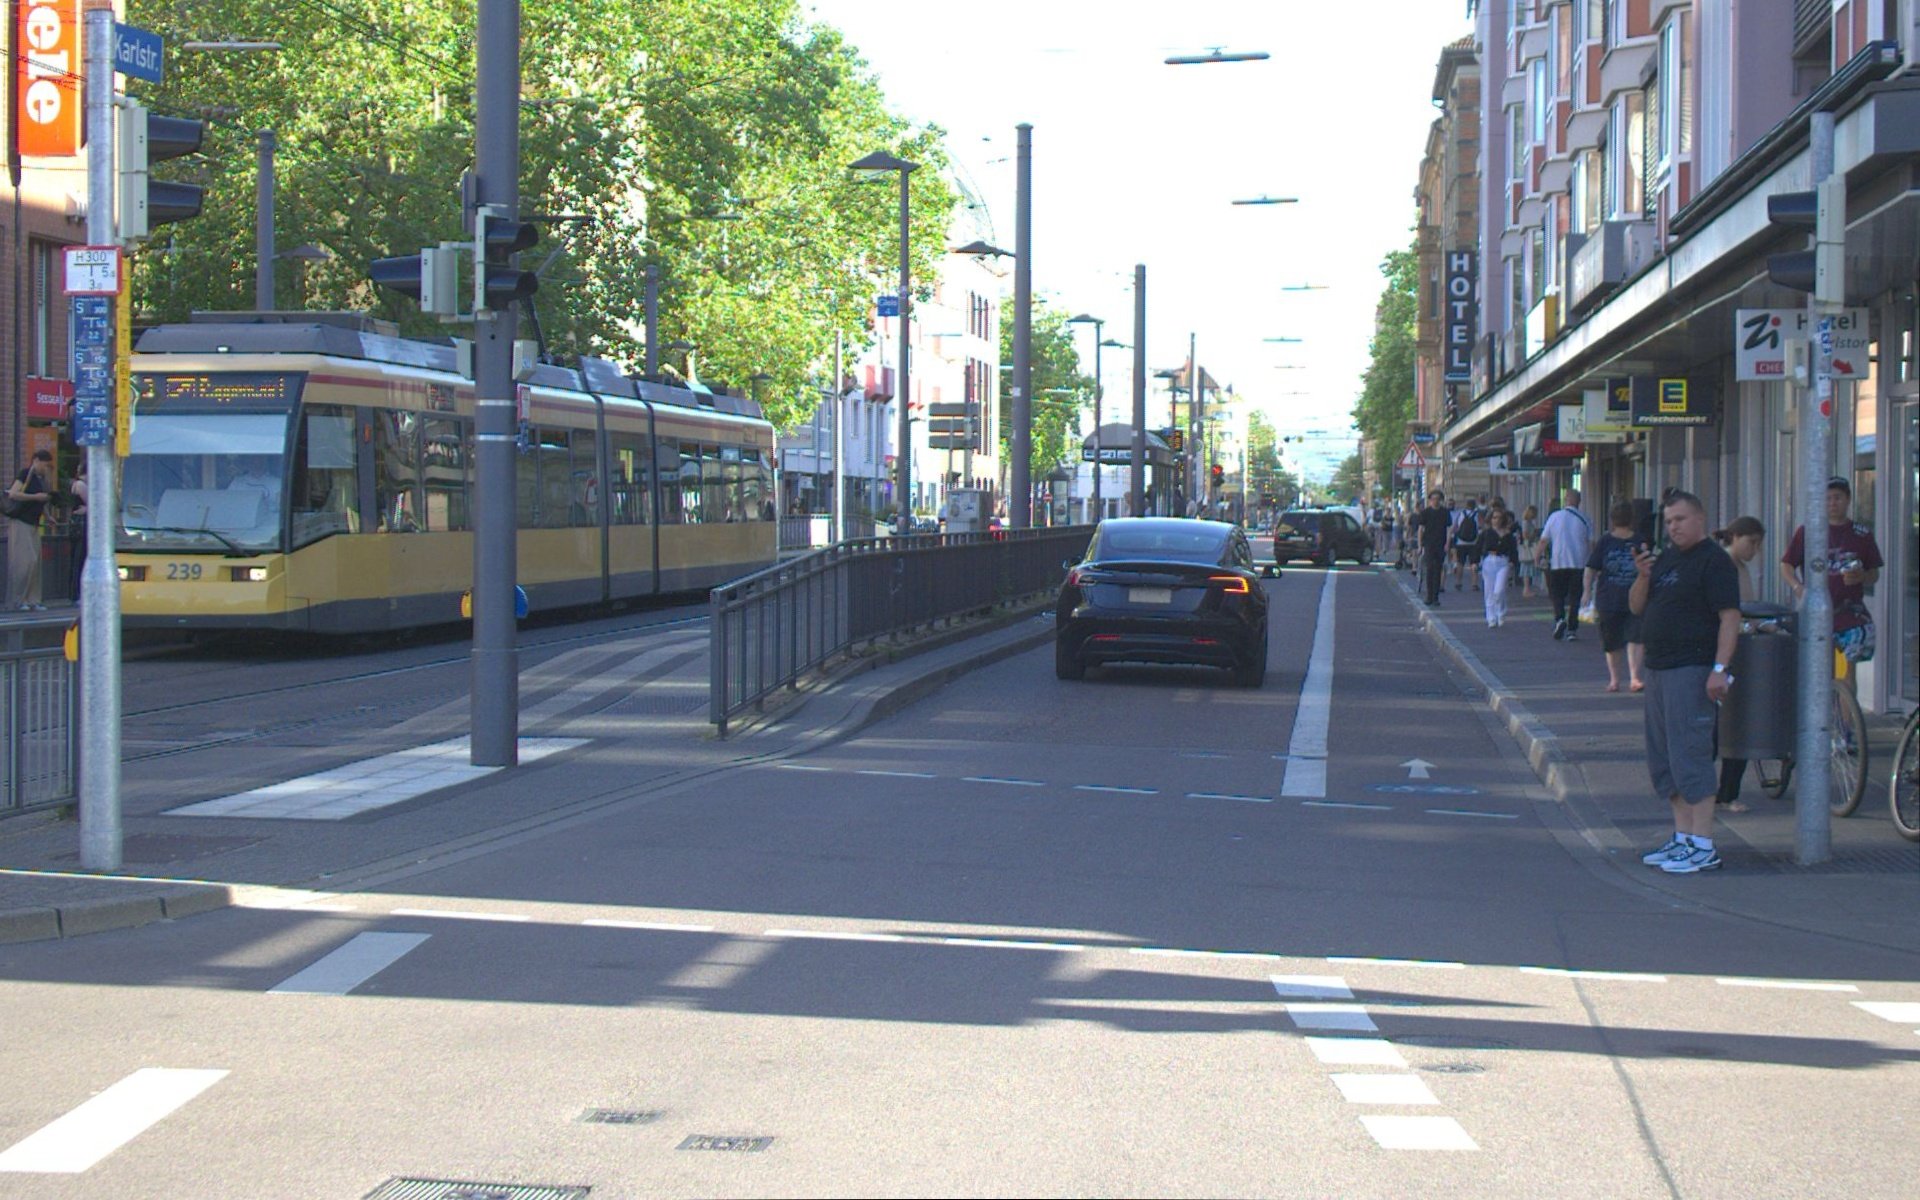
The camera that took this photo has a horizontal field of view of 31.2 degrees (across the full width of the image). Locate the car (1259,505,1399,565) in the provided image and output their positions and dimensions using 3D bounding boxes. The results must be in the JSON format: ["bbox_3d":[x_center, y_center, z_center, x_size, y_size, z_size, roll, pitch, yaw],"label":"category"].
[{"bbox_3d":[10.775,-1.908,100.535,3.696,1.659,1.743,1,1,-8],"label":"car"}]

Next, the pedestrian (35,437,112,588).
[{"bbox_3d":[-10.241,-1.014,39.733,0.636,1.715,0.585,2,1,15],"label":"pedestrian"}]

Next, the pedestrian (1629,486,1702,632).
[{"bbox_3d":[8.255,-0.486,40.259,0.747,1.672,0.699,1,1,7],"label":"pedestrian"}]

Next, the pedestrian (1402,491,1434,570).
[{"bbox_3d":[10.996,-1.670,82.542,0.697,1.890,0.749,1,1,7],"label":"pedestrian"}]

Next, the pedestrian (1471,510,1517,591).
[{"bbox_3d":[10.651,-0.989,68.625,0.842,1.601,0.787,1,1,7],"label":"pedestrian"}]

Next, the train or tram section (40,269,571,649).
[{"bbox_3d":[-6.753,-1.462,37.410,2.730,3.530,10.084,1,2,7],"label":"train or tram section"}]

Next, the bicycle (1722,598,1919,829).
[{"bbox_3d":[4.750,0.576,18.424,0.488,1.098,2.125,1,2,-10],"label":"bicycle"}]

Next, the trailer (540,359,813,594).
[{"bbox_3d":[-4.535,-2.005,57.130,2.714,3.534,9.357,1,2,6],"label":"trailer"}]

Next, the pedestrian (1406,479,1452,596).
[{"bbox_3d":[7.718,-1.031,56.571,0.697,1.890,0.749,1,1,7],"label":"pedestrian"}]

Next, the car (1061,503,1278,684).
[{"bbox_3d":[1.898,-0.110,31.265,1.790,1.445,3.940,2,2,3],"label":"car"}]

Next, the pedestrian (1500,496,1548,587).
[{"bbox_3d":[11.025,-1.147,67.200,0.842,1.750,0.787,1,1,7],"label":"pedestrian"}]

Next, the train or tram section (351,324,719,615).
[{"bbox_3d":[-5.610,-1.740,47.447,2.714,3.534,10.167,1,2,6],"label":"train or tram section"}]

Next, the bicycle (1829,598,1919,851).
[{"bbox_3d":[4.770,0.605,16.198,0.488,1.157,1.974,1,2,-11],"label":"bicycle"}]

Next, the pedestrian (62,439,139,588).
[{"bbox_3d":[-10.083,-1.018,40.336,0.636,1.715,0.608,2,1,15],"label":"pedestrian"}]

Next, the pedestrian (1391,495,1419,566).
[{"bbox_3d":[12.061,-1.887,93.136,0.697,1.890,0.749,1,1,7],"label":"pedestrian"}]

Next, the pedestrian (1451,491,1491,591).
[{"bbox_3d":[9.811,-1.134,66.034,0.697,1.890,0.749,1,1,7],"label":"pedestrian"}]

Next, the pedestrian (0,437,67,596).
[{"bbox_3d":[-10.165,-0.912,37.523,0.635,1.715,0.585,1,1,5],"label":"pedestrian"}]

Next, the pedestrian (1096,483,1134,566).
[{"bbox_3d":[3.369,-1.642,74.678,0.757,1.763,0.699,1,1,5],"label":"pedestrian"}]

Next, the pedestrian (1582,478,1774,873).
[{"bbox_3d":[3.328,0.329,15.994,0.626,1.776,0.918,1,1,-2],"label":"pedestrian"}]

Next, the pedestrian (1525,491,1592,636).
[{"bbox_3d":[7.047,-0.434,40.497,0.697,1.672,0.749,1,1,7],"label":"pedestrian"}]

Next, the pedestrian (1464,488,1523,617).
[{"bbox_3d":[7.037,-0.627,45.369,0.697,1.672,0.749,1,1,7],"label":"pedestrian"}]

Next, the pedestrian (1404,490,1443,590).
[{"bbox_3d":[8.909,-1.151,66.074,0.697,1.890,0.749,1,1,7],"label":"pedestrian"}]

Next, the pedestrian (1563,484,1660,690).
[{"bbox_3d":[5.402,-0.118,28.538,0.697,1.672,0.749,1,1,7],"label":"pedestrian"}]

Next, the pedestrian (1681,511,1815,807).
[{"bbox_3d":[4.226,0.307,18.448,0.471,1.557,0.545,1,1,-13],"label":"pedestrian"}]

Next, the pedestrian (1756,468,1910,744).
[{"bbox_3d":[5.422,0.030,21.376,0.686,1.682,0.672,1,1,-8],"label":"pedestrian"}]
